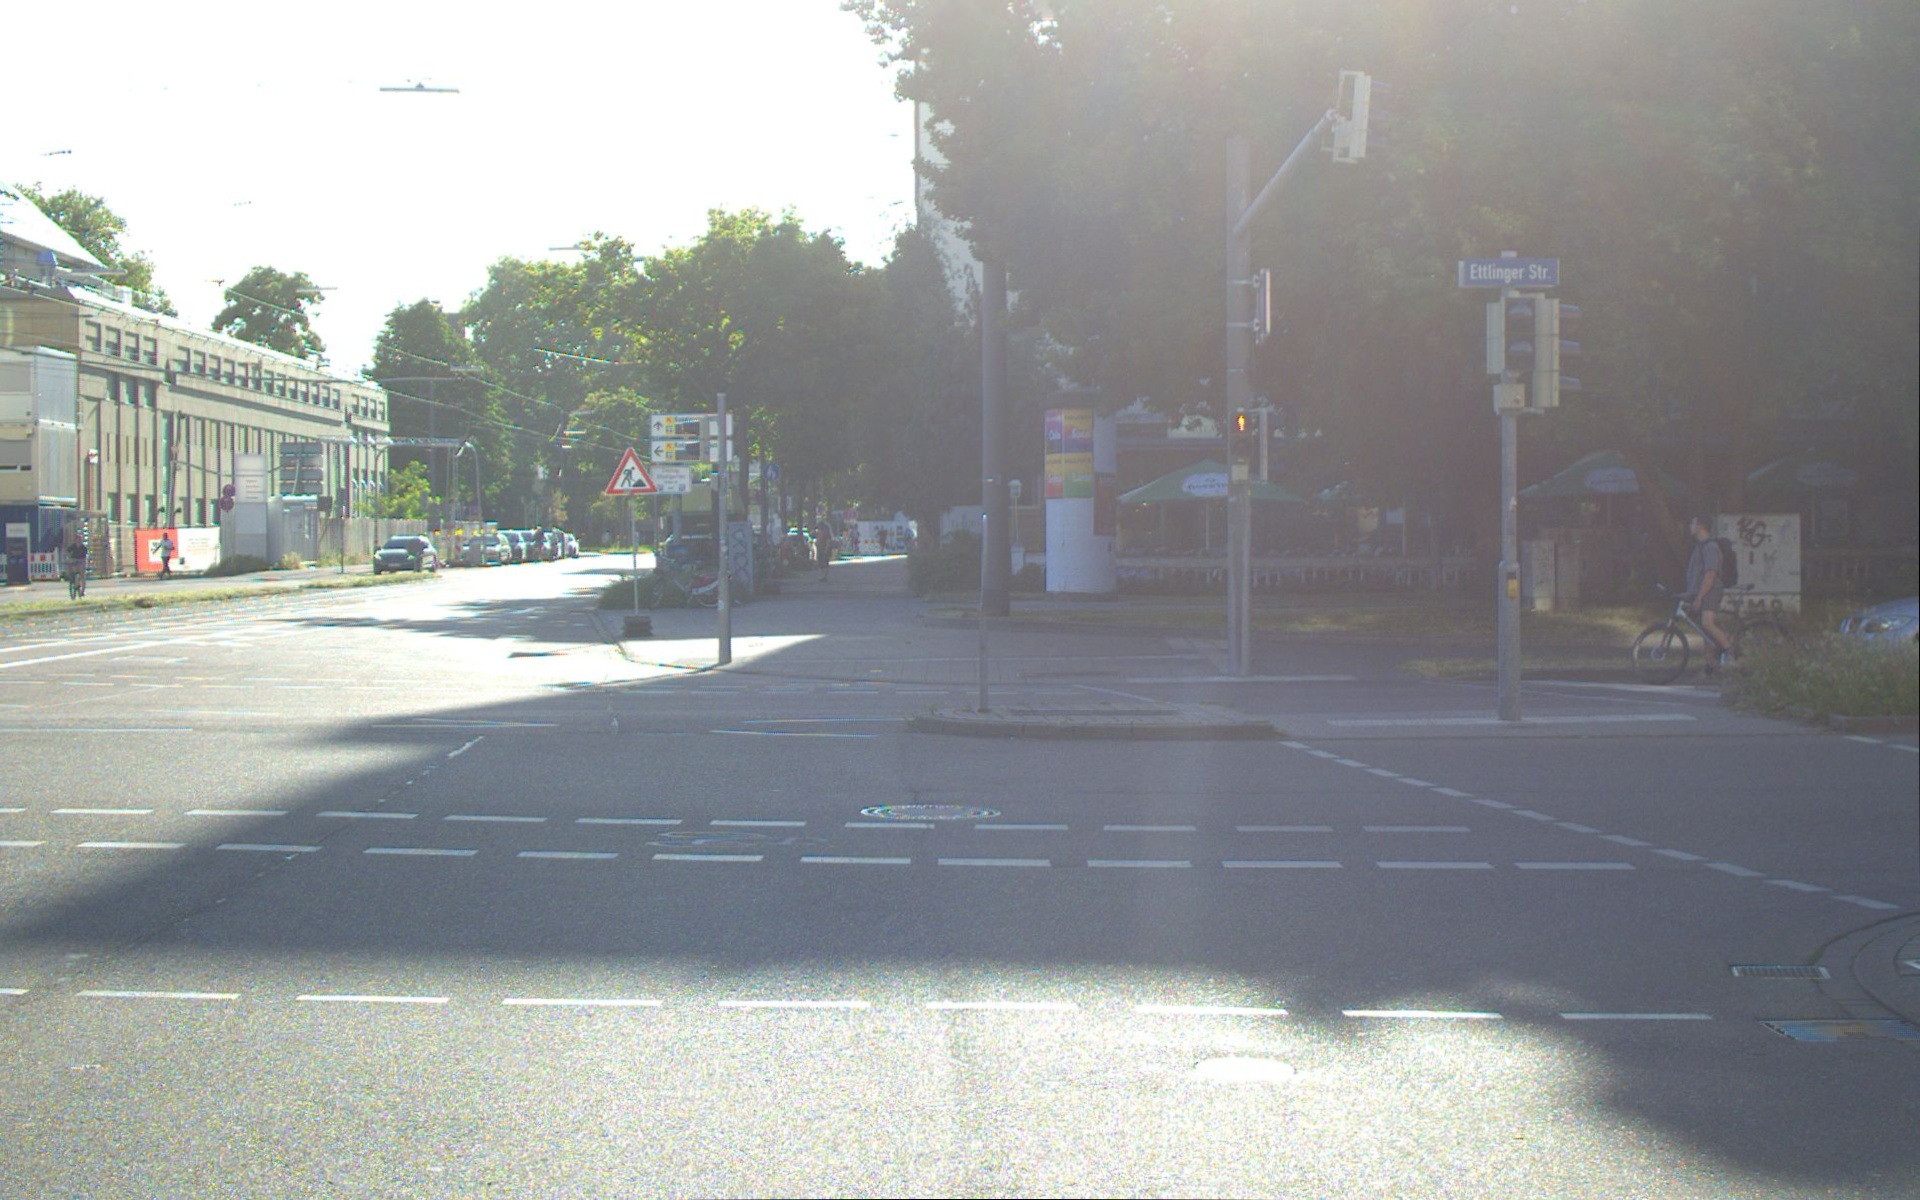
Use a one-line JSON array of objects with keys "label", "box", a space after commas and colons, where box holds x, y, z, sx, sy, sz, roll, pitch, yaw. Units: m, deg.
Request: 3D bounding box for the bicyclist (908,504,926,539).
[{"label": "bicyclist", "box": [-2.514, -4.599, 200.554, 0.890, 2.007, 0.749, 1, 0, -12]}]

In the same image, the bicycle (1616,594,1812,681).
[{"label": "bicycle", "box": [7.966, 0.389, 36.368, 1.944, 0.886, 0.718, 1, 0, 6]}]

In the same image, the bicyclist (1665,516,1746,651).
[{"label": "bicyclist", "box": [7.885, -0.174, 36.367, 0.747, 1.401, 0.702, 1, 0, 6]}]

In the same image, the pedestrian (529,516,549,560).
[{"label": "pedestrian", "box": [-20.026, -2.954, 163.506, 0.751, 2.056, 1.050, 1, 0, 5]}]

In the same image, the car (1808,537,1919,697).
[{"label": "car", "box": [10.830, 0.176, 33.561, 4.576, 1.511, 2.000, 1, 0, 0]}]

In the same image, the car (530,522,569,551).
[{"label": "car", "box": [-23.233, -3.587, 194.684, 1.993, 1.638, 4.001, -1, 1, -4]}]

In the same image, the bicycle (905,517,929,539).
[{"label": "bicycle", "box": [-2.499, -4.202, 200.465, 0.890, 1.215, 2.794, 1, 1, -12]}]

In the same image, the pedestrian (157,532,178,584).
[{"label": "pedestrian", "box": [-29.116, -1.552, 126.330, 0.589, 1.883, 0.477, 1, 1, 42]}]

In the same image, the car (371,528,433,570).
[{"label": "car", "box": [-22.022, -2.042, 135.744, 1.993, 1.593, 4.001, -1, 1, -3]}]

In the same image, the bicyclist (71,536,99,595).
[{"label": "bicyclist", "box": [-22.179, -0.877, 87.118, 0.494, 1.493, 0.666, -1, 1, 2]}]

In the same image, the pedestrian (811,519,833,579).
[{"label": "pedestrian", "box": [-3.917, -1.452, 97.560, 0.576, 1.683, 0.585, -1, 1, -8]}]

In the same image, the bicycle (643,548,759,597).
[{"label": "bicycle", "box": [-5.070, -0.540, 67.214, 2.244, 0.937, 0.654, -1, 1, -5]}]

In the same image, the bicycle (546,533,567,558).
[{"label": "bicycle", "box": [-19.806, -2.666, 168.875, 0.750, 1.201, 3.108, 1, 1, -2]}]

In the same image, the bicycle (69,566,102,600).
[{"label": "bicycle", "box": [-22.174, -0.428, 87.156, 0.494, 0.836, 1.156, -1, 1, 2]}]

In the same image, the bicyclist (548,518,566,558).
[{"label": "bicyclist", "box": [-19.800, -3.037, 168.751, 0.750, 1.913, 1.215, 1, 0, -2]}]

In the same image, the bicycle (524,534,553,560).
[{"label": "bicycle", "box": [-20.041, -2.531, 163.445, 0.751, 1.201, 3.107, 1, 1, 5]}]
